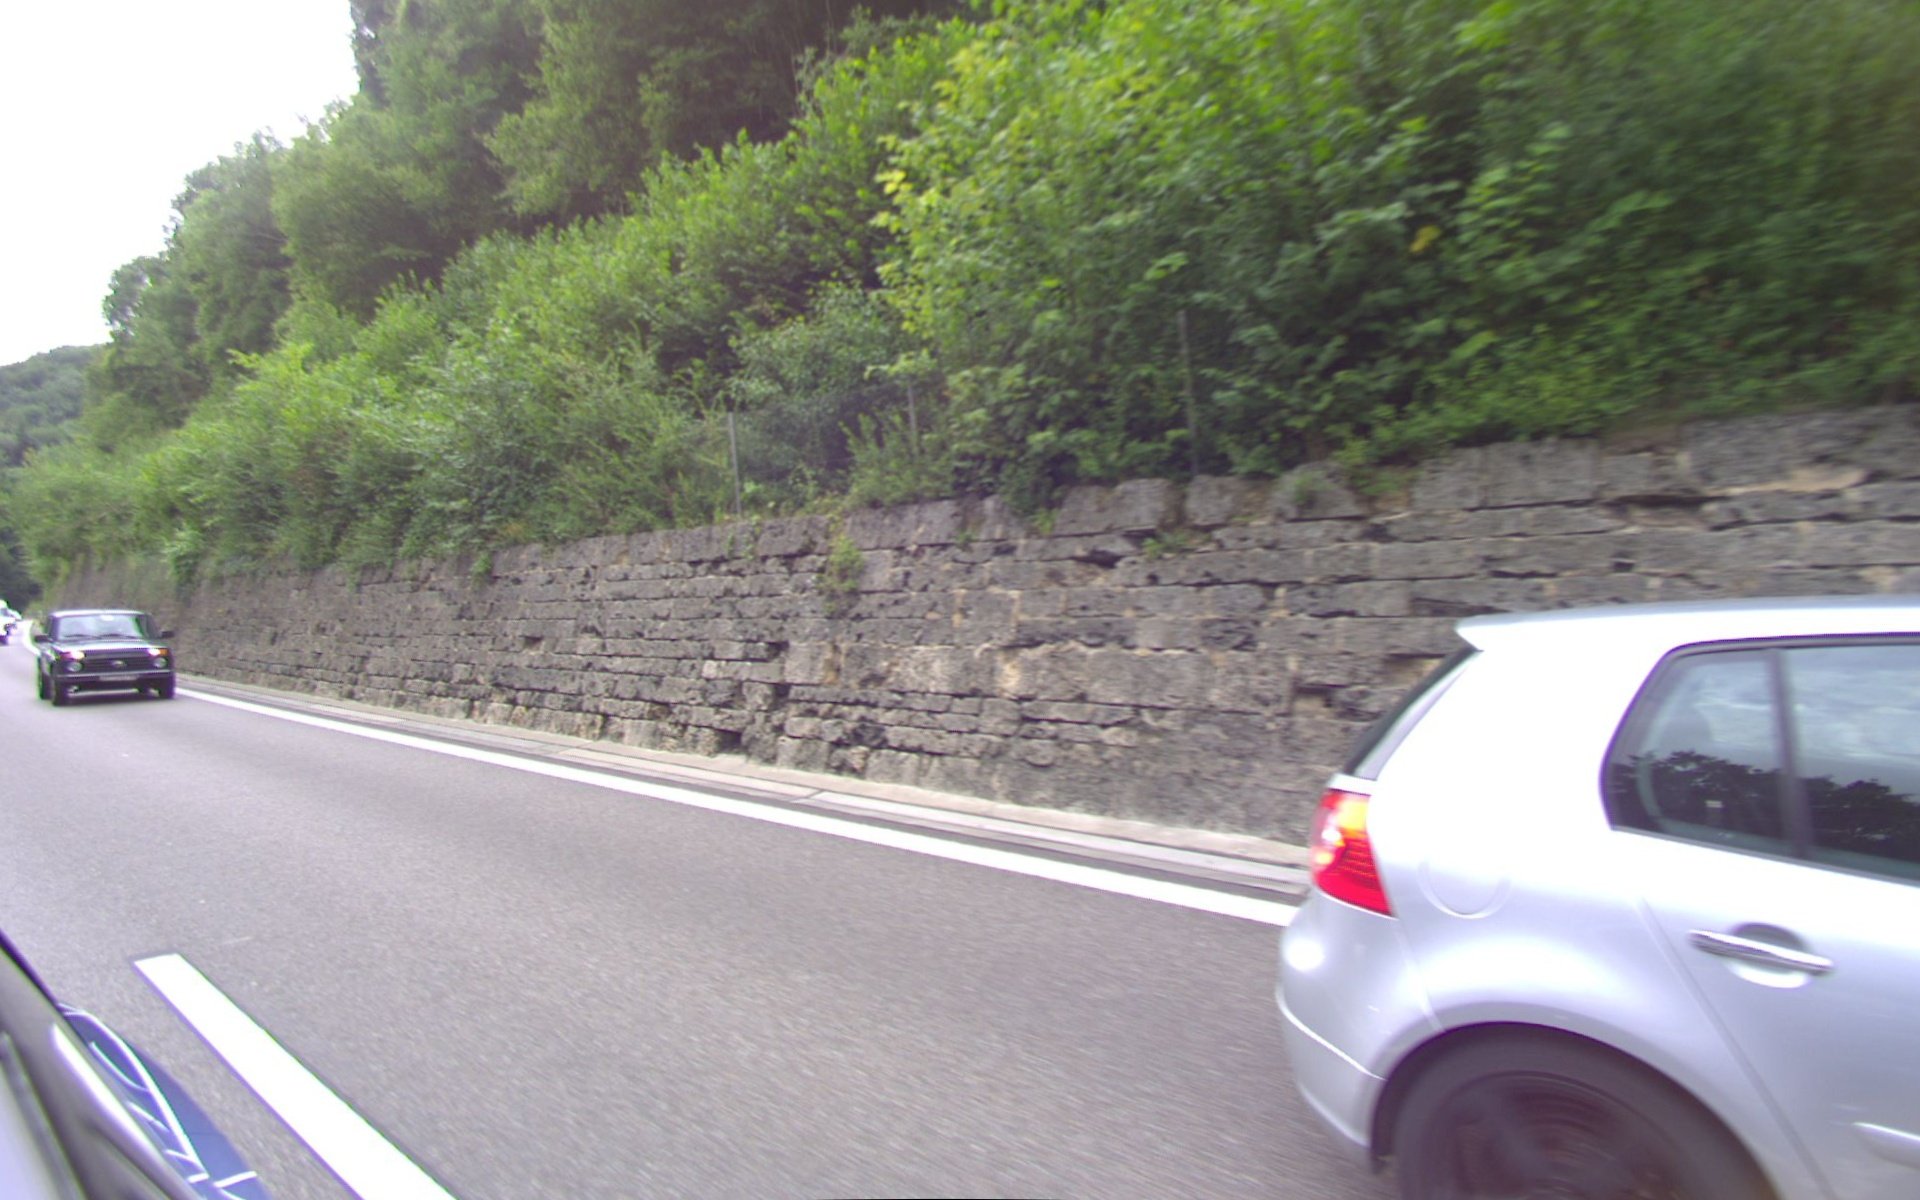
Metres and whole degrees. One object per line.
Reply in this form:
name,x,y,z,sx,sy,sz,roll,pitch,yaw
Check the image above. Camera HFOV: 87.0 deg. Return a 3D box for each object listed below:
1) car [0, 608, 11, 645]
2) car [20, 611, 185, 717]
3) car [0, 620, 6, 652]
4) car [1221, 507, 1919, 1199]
car,-71.178,1.941,74.398,1.949,2.663,4.585,0,-1,-45
car,-15.864,1.083,18.643,4.583,1.668,1.789,-1,0,43
car,-52.478,1.974,54.123,4.583,1.668,1.789,-2,0,43
car,2.846,0.620,1.367,4.580,1.526,1.664,-1,-2,41
